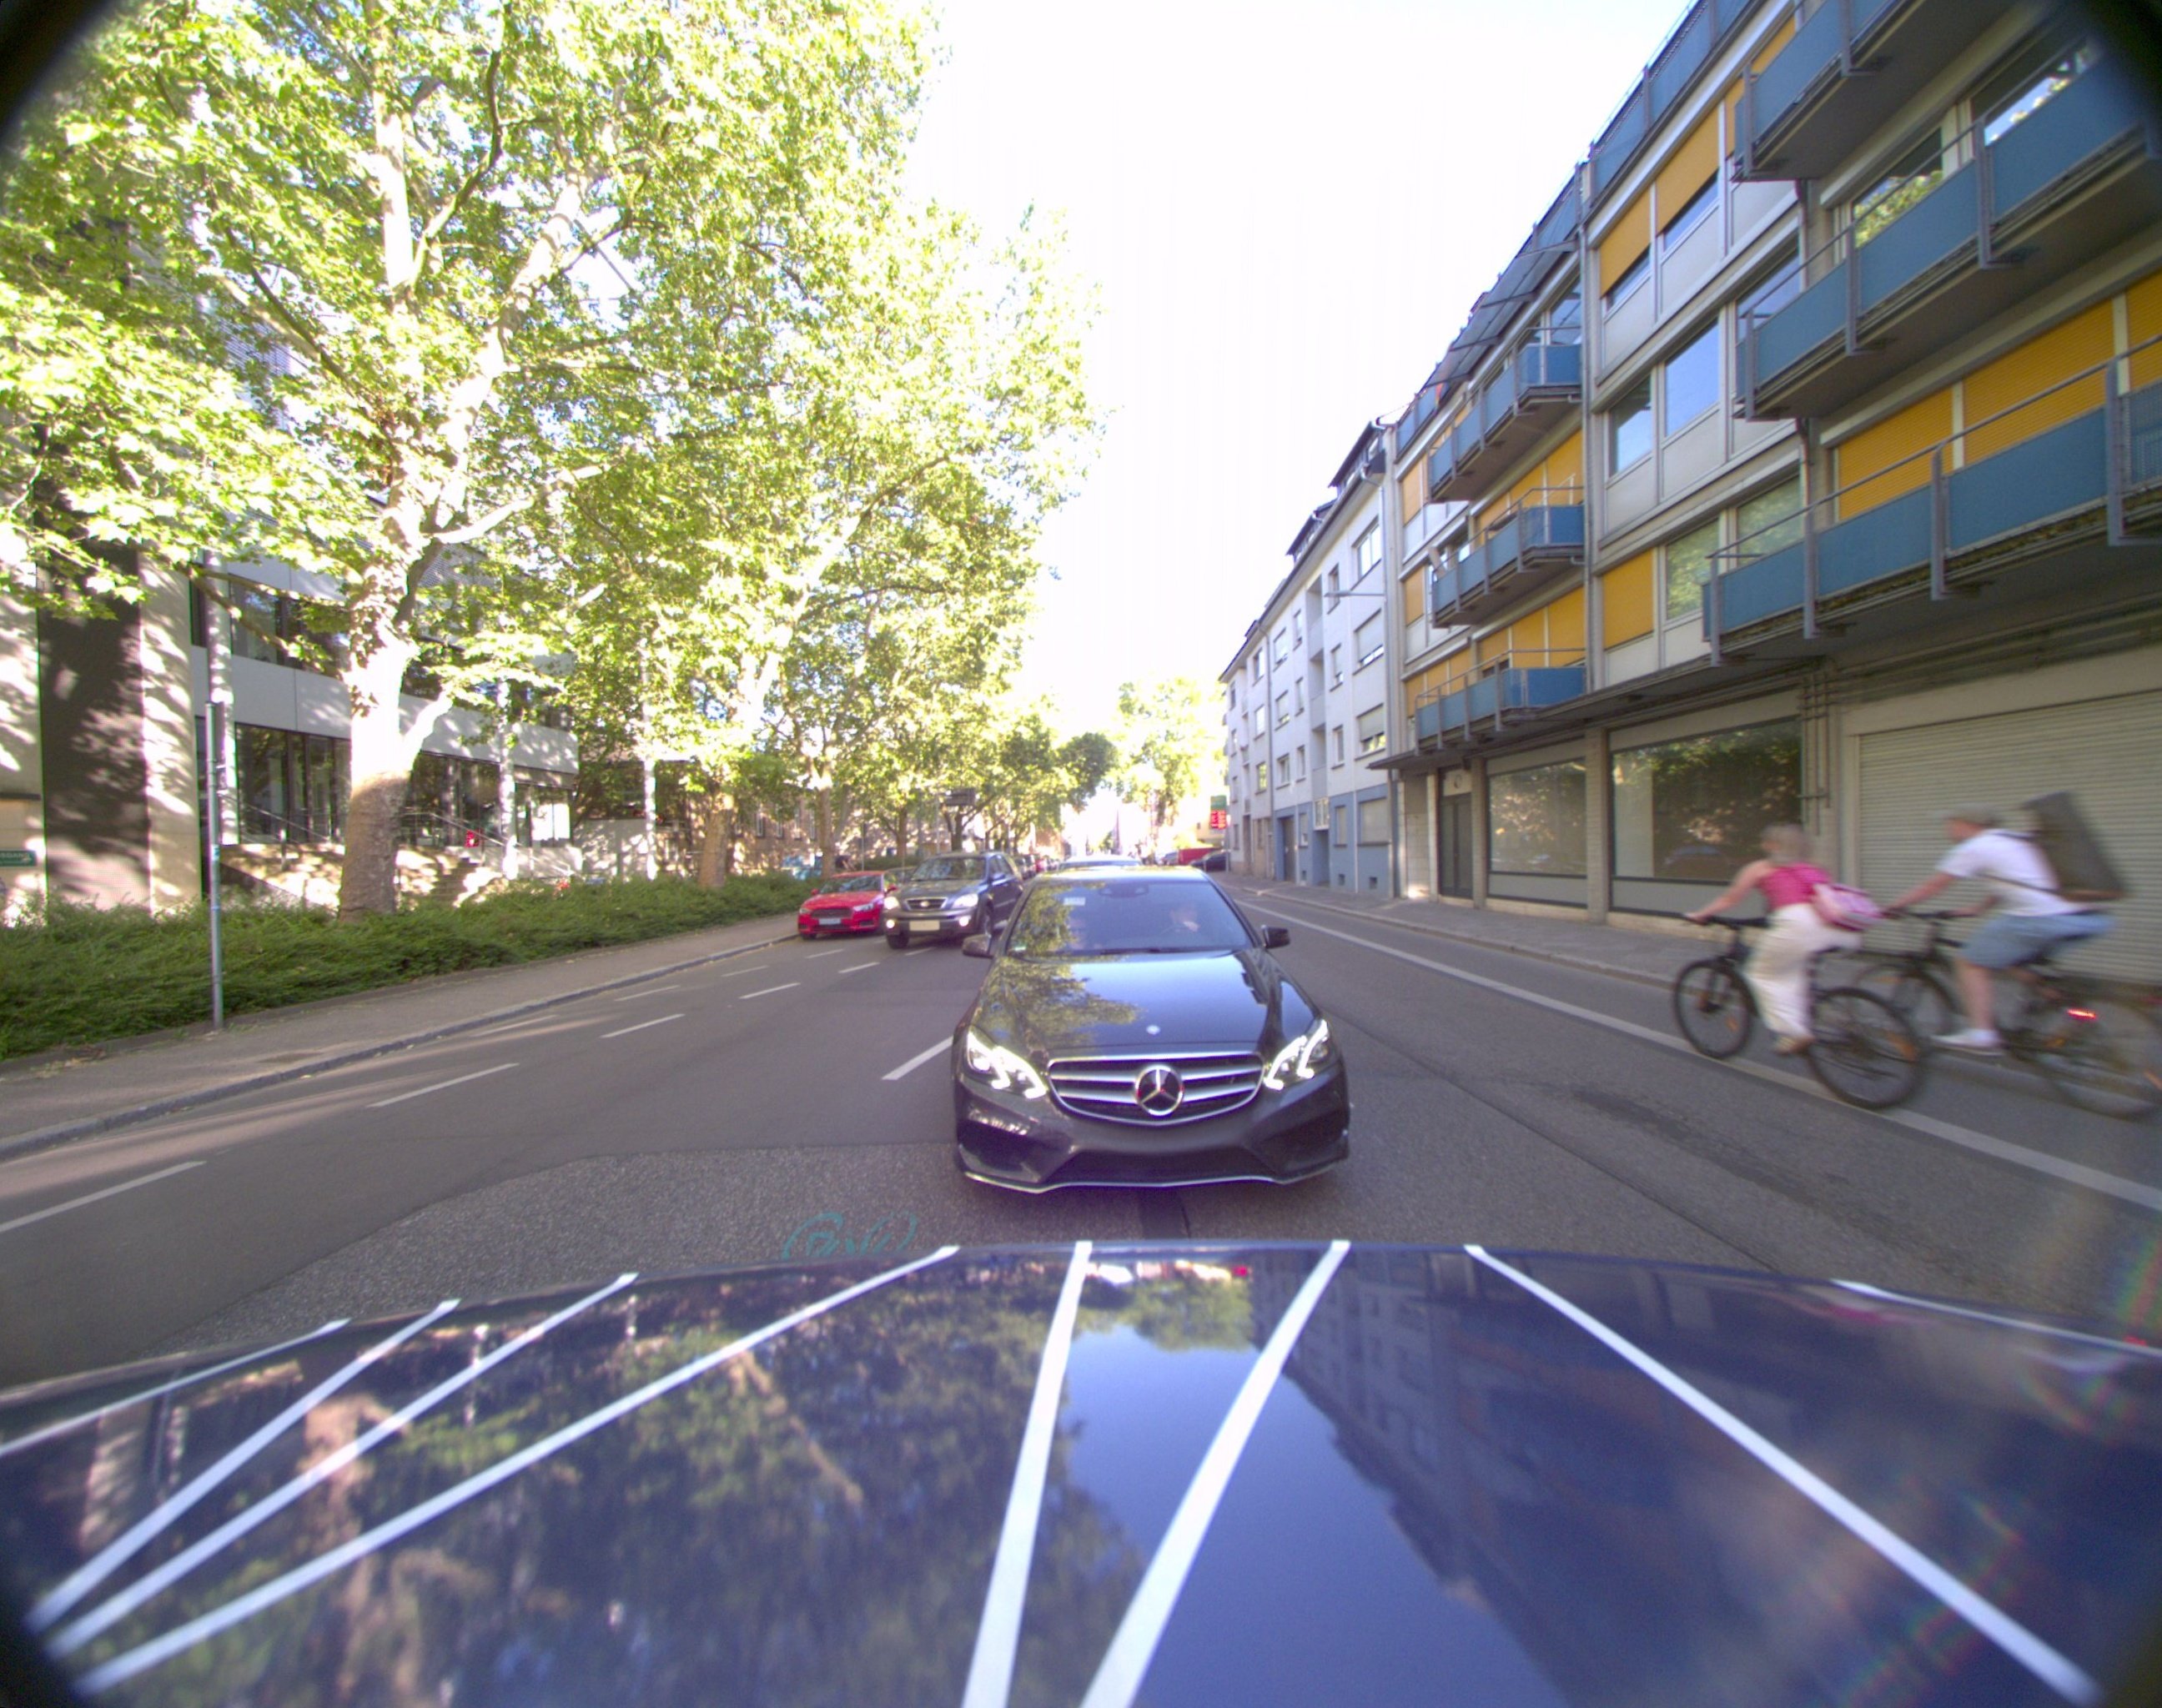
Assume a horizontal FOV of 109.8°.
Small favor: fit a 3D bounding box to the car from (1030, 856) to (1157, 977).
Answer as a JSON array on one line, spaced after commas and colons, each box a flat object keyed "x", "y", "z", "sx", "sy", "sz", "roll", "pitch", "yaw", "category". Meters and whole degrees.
[{"x": 0.200, "y": 0.856, "z": 12.671, "sx": 1.646, "sy": 1.520, "sz": 4.619, "roll": -4, "pitch": 0, "yaw": 1, "category": "car"}]

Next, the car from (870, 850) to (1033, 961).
[{"x": -2.337, "y": 0.869, "z": 15.040, "sx": 1.784, "sy": 1.760, "sz": 4.387, "roll": -3, "pitch": 0, "yaw": 9, "category": "car"}]

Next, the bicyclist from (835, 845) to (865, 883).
[{"x": -10.169, "y": 0.436, "z": 33.475, "sx": 1.037, "sy": 1.610, "sz": 0.698, "roll": -2, "pitch": 1, "yaw": 1, "category": "bicyclist"}]

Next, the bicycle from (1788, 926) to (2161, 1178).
[{"x": 5.766, "y": 1.094, "z": 4.783, "sx": 0.865, "sy": 1.072, "sz": 1.836, "roll": -2, "pitch": 0, "yaw": -2, "category": "bicycle"}]

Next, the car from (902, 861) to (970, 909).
[{"x": -5.235, "y": 1.078, "z": 27.950, "sx": 1.681, "sy": 1.484, "sz": 3.918, "roll": -4, "pitch": 0, "yaw": 0, "category": "car"}]

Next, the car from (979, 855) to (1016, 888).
[{"x": -4.601, "y": 0.945, "z": 42.324, "sx": 1.634, "sy": 1.677, "sz": 3.907, "roll": -2, "pitch": 0, "yaw": 0, "category": "car"}]

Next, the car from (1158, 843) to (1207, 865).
[{"x": 11.032, "y": -0.006, "z": 82.821, "sx": 4.990, "sy": 2.181, "sz": 2.000, "roll": -2, "pitch": 1, "yaw": 1, "category": "car"}]

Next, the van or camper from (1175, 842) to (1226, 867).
[{"x": 10.053, "y": 0.026, "z": 64.198, "sx": 3.997, "sy": 2.002, "sz": 2.000, "roll": -2, "pitch": 1, "yaw": 0, "category": "van or camper"}]

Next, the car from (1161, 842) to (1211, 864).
[{"x": 11.028, "y": -0.099, "z": 80.190, "sx": 4.990, "sy": 2.181, "sz": 2.000, "roll": -2, "pitch": 1, "yaw": 1, "category": "car"}]

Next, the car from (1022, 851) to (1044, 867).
[{"x": -4.389, "y": 0.436, "z": 70.444, "sx": 1.741, "sy": 1.469, "sz": 4.091, "roll": -2, "pitch": 0, "yaw": 0, "category": "car"}]

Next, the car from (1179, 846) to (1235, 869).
[{"x": 10.132, "y": 0.271, "z": 61.291, "sx": 4.146, "sy": 1.681, "sz": 2.000, "roll": -2, "pitch": 0, "yaw": 1, "category": "car"}]

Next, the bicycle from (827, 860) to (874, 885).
[{"x": -10.141, "y": 0.822, "z": 33.491, "sx": 1.798, "sy": 1.009, "sz": 0.734, "roll": -2, "pitch": 1, "yaw": -1, "category": "bicycle"}]

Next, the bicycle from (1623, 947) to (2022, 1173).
[{"x": 4.533, "y": 1.188, "z": 4.890, "sx": 0.695, "sy": 0.924, "sz": 1.863, "roll": -2, "pitch": 0, "yaw": -2, "category": "bicycle"}]

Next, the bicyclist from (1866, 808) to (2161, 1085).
[{"x": 5.743, "y": 0.524, "z": 4.726, "sx": 0.844, "sy": 1.546, "sz": 0.839, "roll": -2, "pitch": 1, "yaw": -2, "category": "bicyclist"}]

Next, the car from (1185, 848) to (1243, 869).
[{"x": 10.309, "y": 0.326, "z": 58.960, "sx": 4.146, "sy": 1.486, "sz": 2.000, "roll": -2, "pitch": 0, "yaw": 1, "category": "car"}]

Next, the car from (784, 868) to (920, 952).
[{"x": -5.137, "y": 1.185, "z": 17.642, "sx": 1.830, "sy": 1.519, "sz": 4.142, "roll": -4, "pitch": 0, "yaw": 0, "category": "car"}]

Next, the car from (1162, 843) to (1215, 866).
[{"x": 10.908, "y": 0.028, "z": 77.338, "sx": 4.990, "sy": 2.181, "sz": 2.000, "roll": -2, "pitch": 1, "yaw": 1, "category": "car"}]

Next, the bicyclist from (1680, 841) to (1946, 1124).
[{"x": 4.486, "y": 0.718, "z": 4.741, "sx": 0.687, "sy": 1.569, "sz": 0.981, "roll": -2, "pitch": 1, "yaw": -2, "category": "bicyclist"}]

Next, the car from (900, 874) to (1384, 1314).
[{"x": 0.221, "y": 0.935, "z": 4.721, "sx": 1.740, "sy": 1.448, "sz": 3.864, "roll": -2, "pitch": 0, "yaw": 0, "category": "car"}]

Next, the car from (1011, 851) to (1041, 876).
[{"x": -4.284, "y": 0.720, "z": 59.847, "sx": 1.992, "sy": 1.795, "sz": 4.376, "roll": -2, "pitch": 0, "yaw": 0, "category": "car"}]

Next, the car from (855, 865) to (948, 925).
[{"x": -5.217, "y": 1.142, "z": 22.649, "sx": 1.741, "sy": 1.444, "sz": 4.091, "roll": -4, "pitch": 0, "yaw": 0, "category": "car"}]

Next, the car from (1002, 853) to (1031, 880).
[{"x": -4.618, "y": 0.866, "z": 54.840, "sx": 1.741, "sy": 1.785, "sz": 3.895, "roll": -2, "pitch": 0, "yaw": 0, "category": "car"}]

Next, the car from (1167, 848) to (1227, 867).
[{"x": 10.155, "y": 0.286, "z": 66.700, "sx": 4.990, "sy": 1.486, "sz": 2.000, "roll": -2, "pitch": 0, "yaw": 1, "category": "car"}]
